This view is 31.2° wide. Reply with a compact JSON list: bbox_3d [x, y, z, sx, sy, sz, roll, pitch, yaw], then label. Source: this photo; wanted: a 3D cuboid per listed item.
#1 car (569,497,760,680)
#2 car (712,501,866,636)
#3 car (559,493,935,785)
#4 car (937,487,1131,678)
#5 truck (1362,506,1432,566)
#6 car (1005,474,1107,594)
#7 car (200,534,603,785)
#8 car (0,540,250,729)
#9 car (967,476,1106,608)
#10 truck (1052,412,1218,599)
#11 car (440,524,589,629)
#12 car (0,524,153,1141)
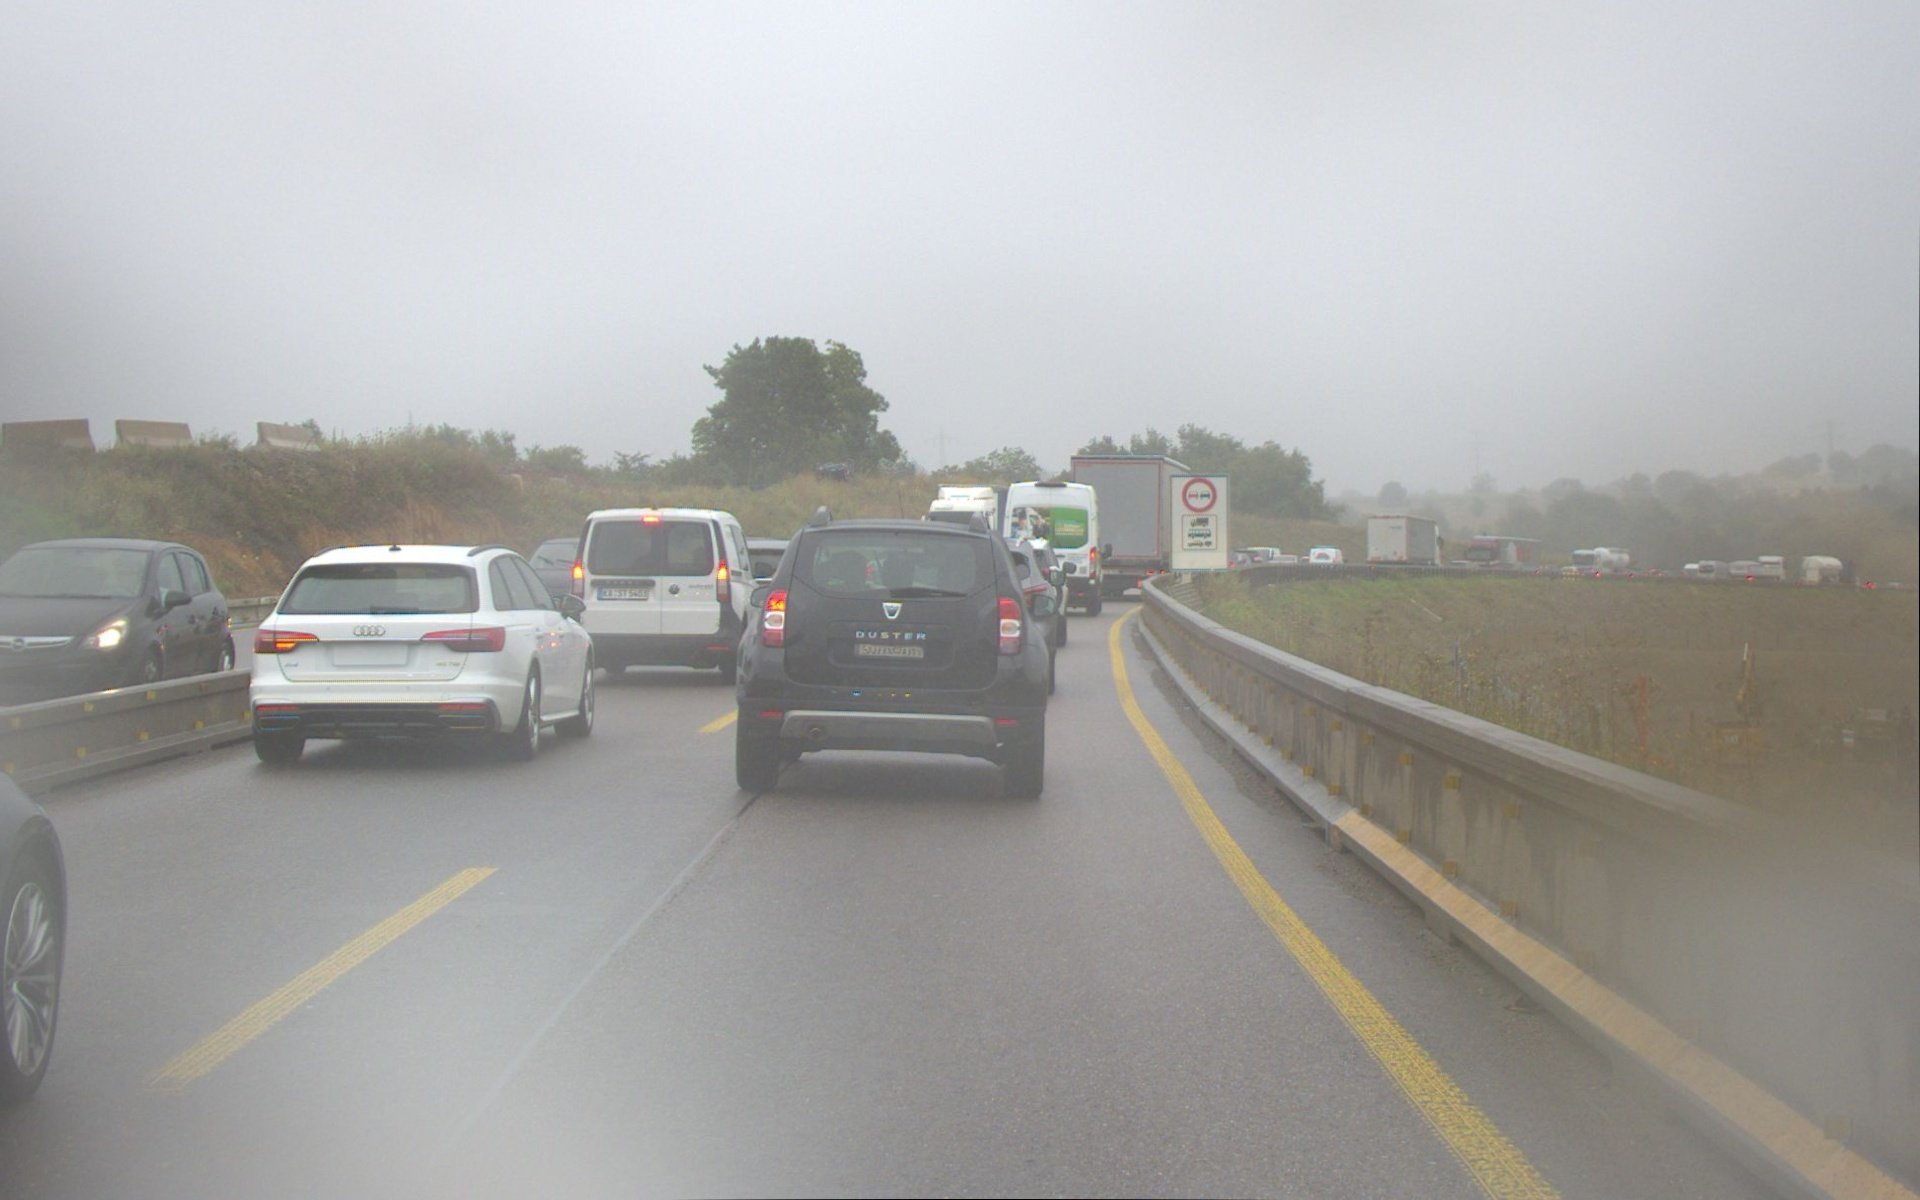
[{"bbox_3d":[-3.107,-0.131,36.803,1.826,1.809,4.000,1,0,-2],"label":"car"},{"bbox_3d":[-2.398,-0.447,49.180,1.826,1.809,4.000,1,0,2],"label":"car"},{"bbox_3d":[-1.211,0.206,21.243,1.826,1.585,4.000,1,0,3],"label":"car"},{"bbox_3d":[0.723,-0.183,35.308,1.826,1.809,4.000,1,0,0],"label":"car"},{"bbox_3d":[27.942,-4.100,219.353,3.474,3.702,8.412,0,1,14],"label":"truck"},{"bbox_3d":[2.049,-1.361,72.448,1.826,2.429,4.157,1,0,5],"label":"car"},{"bbox_3d":[-3.632,0.354,23.050,1.826,1.494,4.000,1,0,3],"label":"car"},{"bbox_3d":[-7.206,0.246,28.741,1.610,1.438,4.462,1,0,0],"label":"car"},{"bbox_3d":[1.153,-0.816,50.149,1.826,1.809,3.999,1,0,4],"label":"car"},{"bbox_3d":[5.162,-2.598,99.035,3.545,5.060,10.437,1,0,9],"label":"truck"},{"bbox_3d":[-6.580,-0.374,51.113,1.666,1.461,3.732,1,1,0],"label":"car"},{"bbox_3d":[-3.203,0.628,6.965,1.735,1.457,5.630,1,3,1],"label":"car"}]
